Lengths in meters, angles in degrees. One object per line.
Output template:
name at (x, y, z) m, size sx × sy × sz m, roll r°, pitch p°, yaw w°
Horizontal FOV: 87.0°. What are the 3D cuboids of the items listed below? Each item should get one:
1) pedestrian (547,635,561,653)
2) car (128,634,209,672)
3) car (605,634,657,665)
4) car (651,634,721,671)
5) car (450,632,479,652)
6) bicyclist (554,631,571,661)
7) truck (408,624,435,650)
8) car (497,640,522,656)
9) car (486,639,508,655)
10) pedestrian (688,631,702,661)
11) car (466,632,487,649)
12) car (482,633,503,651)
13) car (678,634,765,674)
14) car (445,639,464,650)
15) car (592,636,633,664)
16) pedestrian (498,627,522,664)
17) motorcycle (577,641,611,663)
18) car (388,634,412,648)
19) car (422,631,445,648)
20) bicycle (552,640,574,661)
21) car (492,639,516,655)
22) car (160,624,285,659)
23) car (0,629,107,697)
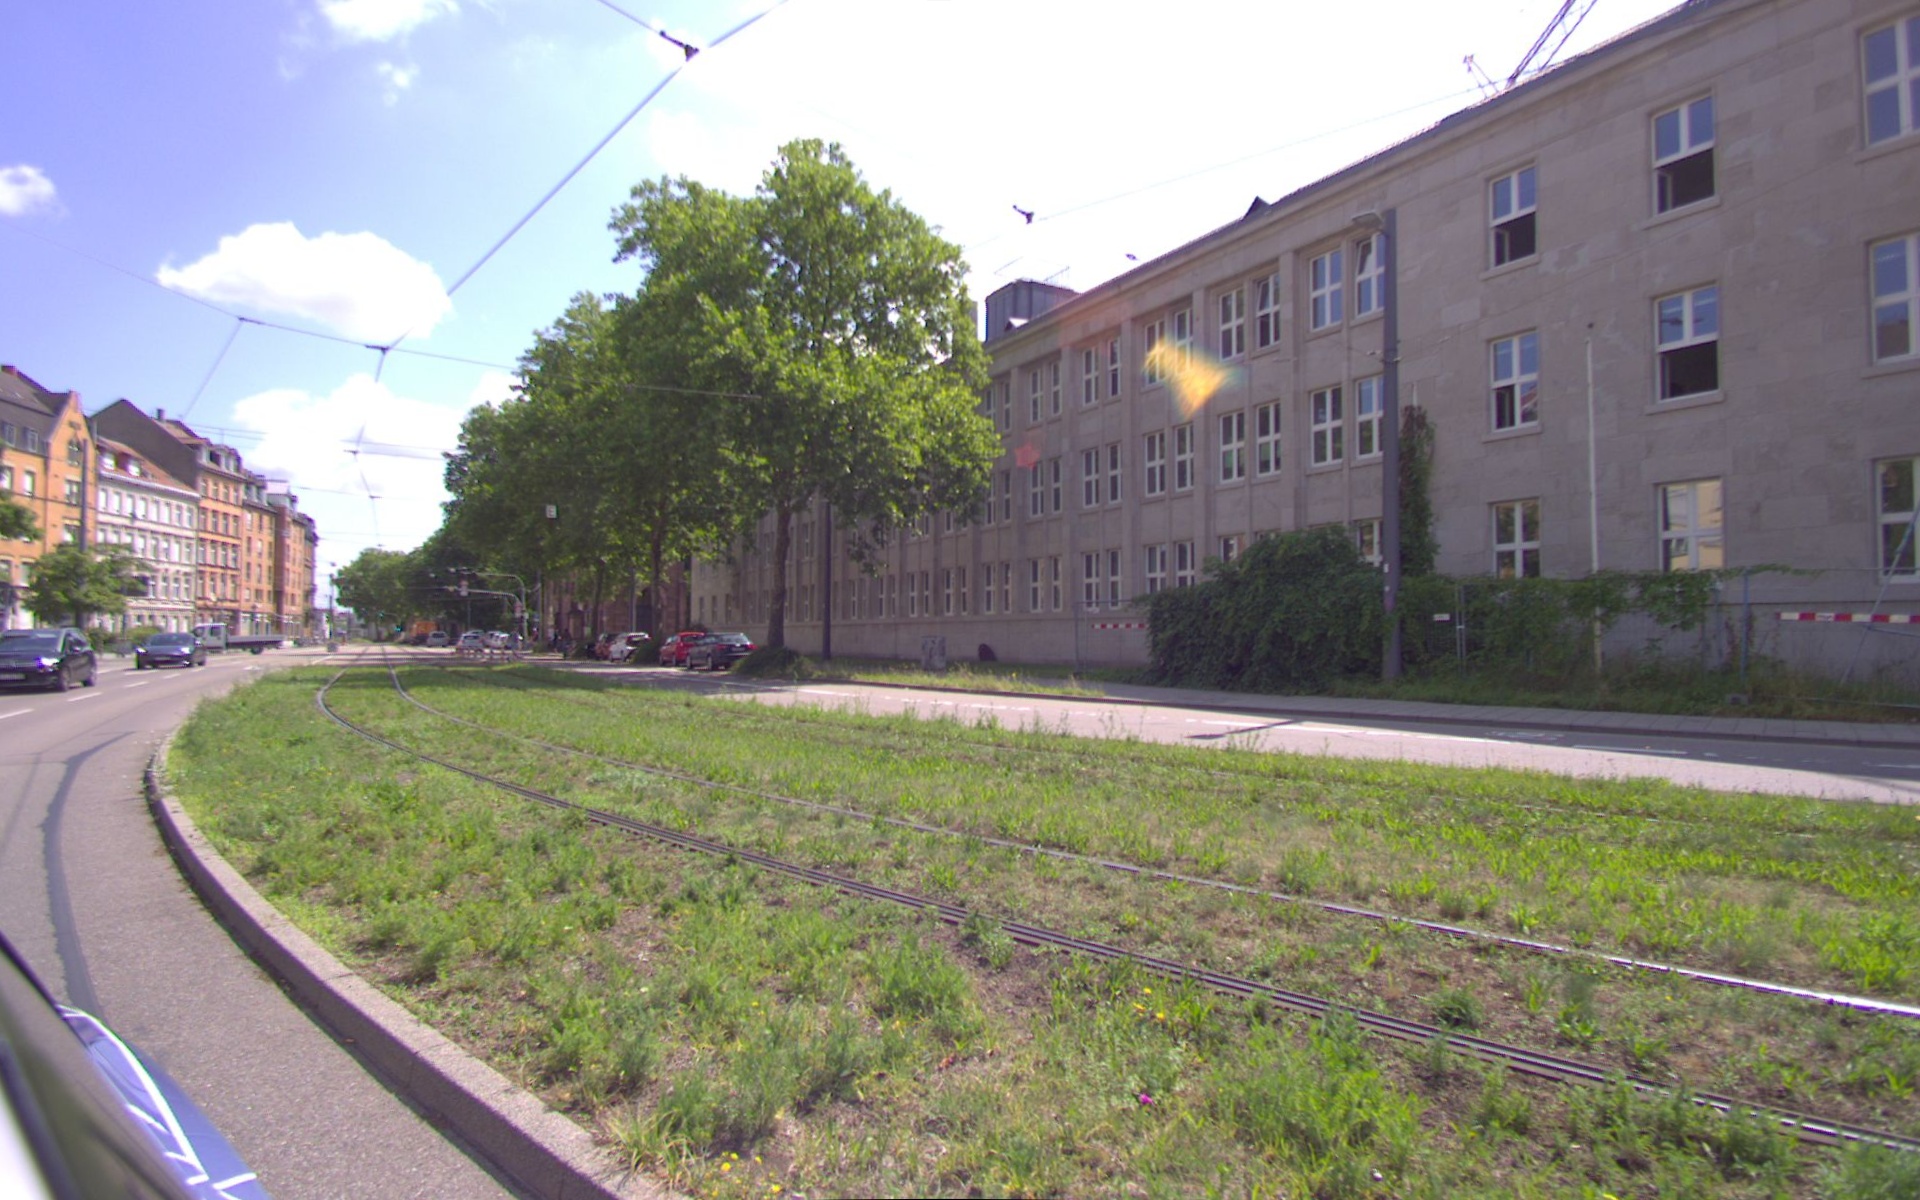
pedestrian at (-28.926, 3.104, 72.101) m, size 0.745 × 1.221 × 0.916 m, roll -5°, pitch 0°, yaw -28°
car at (-32.416, 2.121, 41.566) m, size 1.883 × 1.404 × 4.327 m, roll 0°, pitch -1°, yaw -28°
car at (-16.903, 2.549, 51.912) m, size 1.722 × 1.465 × 3.501 m, roll -1°, pitch -2°, yaw -32°
car at (-11.802, 2.227, 43.400) m, size 1.899 × 1.431 × 4.062 m, roll -1°, pitch -2°, yaw -30°
car at (-40.063, 3.387, 81.778) m, size 1.736 × 1.491 × 3.798 m, roll 4°, pitch -5°, yaw -31°
bicyclist at (-22.581, 2.611, 57.524) m, size 0.751 × 1.717 × 0.786 m, roll 0°, pitch -2°, yaw -31°
truck at (-68.580, 4.717, 128.861) m, size 2.602 × 3.130 × 7.244 m, roll 3°, pitch -3°, yaw -30°
car at (-43.435, 4.614, 97.518) m, size 1.732 × 1.508 × 4.012 m, roll 0°, pitch -2°, yaw -30°
car at (-48.236, 4.870, 105.366) m, size 1.732 × 1.508 × 4.012 m, roll 0°, pitch -2°, yaw -30°
pedestrian at (-14.425, 2.488, 55.056) m, size 0.546 × 1.603 × 0.797 m, roll 0°, pitch -2°, yaw -31°
car at (-61.242, 5.142, 128.195) m, size 1.961 × 2.019 × 4.096 m, roll 0°, pitch -2°, yaw -33°
car at (-51.266, 4.588, 110.957) m, size 1.732 × 1.850 × 4.012 m, roll 0°, pitch -2°, yaw -30°
car at (-9.162, 2.056, 38.577) m, size 1.900 × 1.379 × 4.329 m, roll -1°, pitch -2°, yaw -32°
car at (-71.640, 6.345, 143.448) m, size 1.734 × 1.508 × 4.009 m, roll 0°, pitch -2°, yaw -37°
car at (-19.182, 2.744, 55.824) m, size 1.466 × 1.465 × 2.891 m, roll -1°, pitch -2°, yaw -32°
pedestrian at (-21.112, 2.126, 47.456) m, size 0.697 × 1.717 × 0.778 m, roll -1°, pitch -2°, yaw 19°
motorcycle at (-21.842, 3.097, 60.432) m, size 0.541 × 1.184 × 2.092 m, roll -6°, pitch -1°, yaw 21°
car at (-95.111, 6.964, 171.900) m, size 3.985 × 2.201 × 1.744 m, roll -2°, pitch -2°, yaw 31°
car at (-58.271, 4.392, 111.959) m, size 1.894 × 1.759 × 4.550 m, roll 4°, pitch -4°, yaw -31°
bicycle at (-22.603, 2.854, 57.579) m, size 0.779 × 1.118 × 2.283 m, roll 0°, pitch -2°, yaw -31°
car at (-45.750, 4.742, 101.498) m, size 1.732 × 1.508 × 4.012 m, roll 0°, pitch -2°, yaw -30°
car at (-51.812, 2.923, 71.370) m, size 6.860 × 2.392 × 2.270 m, roll 1°, pitch -3°, yaw -30°
car at (-23.695, 1.564, 26.079) m, size 1.844 × 1.631 × 4.202 m, roll 0°, pitch -2°, yaw -29°
